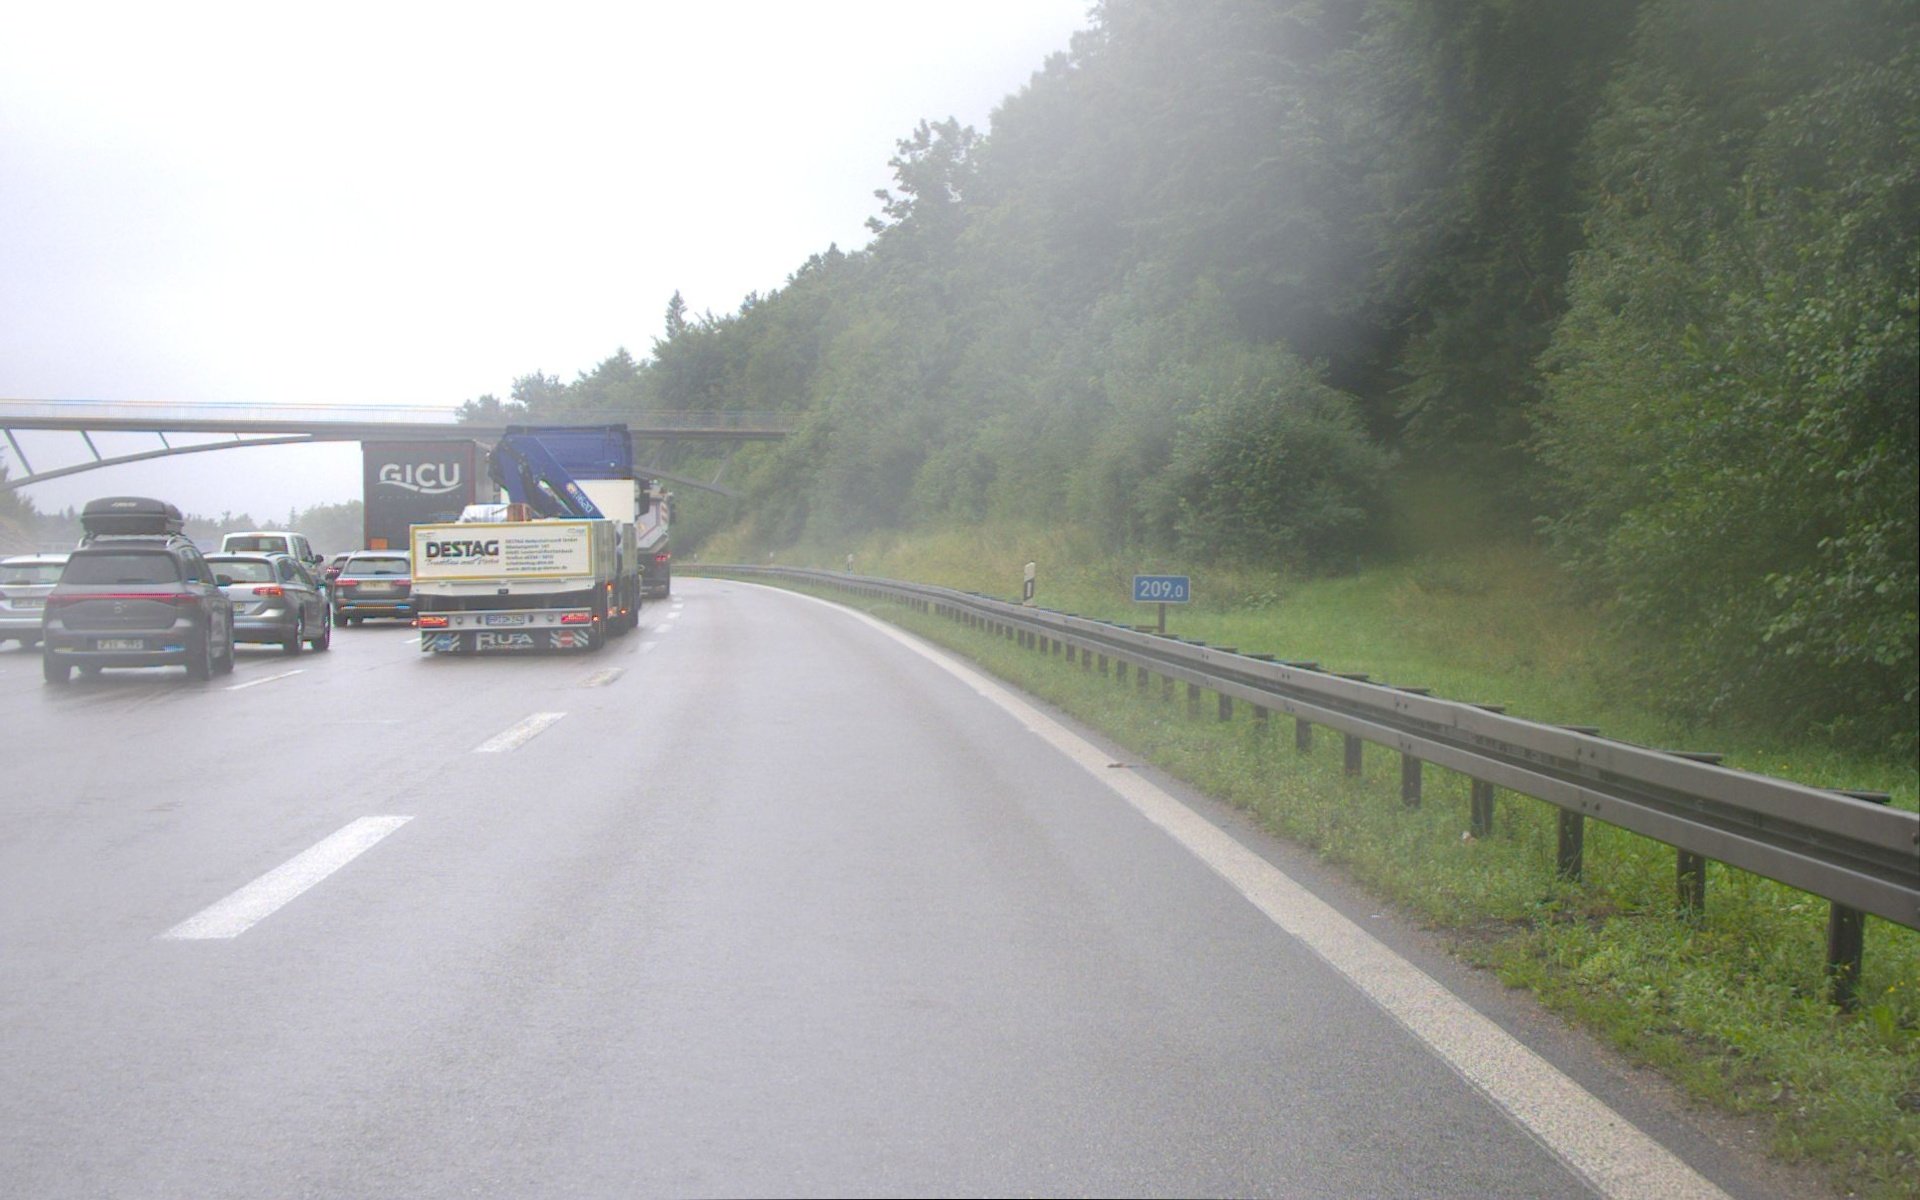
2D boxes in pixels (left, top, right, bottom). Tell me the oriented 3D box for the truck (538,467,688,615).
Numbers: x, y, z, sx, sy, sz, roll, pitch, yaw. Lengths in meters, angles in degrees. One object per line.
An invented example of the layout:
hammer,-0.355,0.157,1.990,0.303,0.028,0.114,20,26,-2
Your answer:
truck,-10.332,-1.659,103.681,3.754,3.957,11.060,3,-1,-3

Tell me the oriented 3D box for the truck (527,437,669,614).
truck,-12.847,-2.539,123.028,4.335,5.744,9.731,3,-1,-4

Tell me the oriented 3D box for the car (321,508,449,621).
car,-11.137,-0.657,66.848,1.793,2.007,4.000,3,-1,-1

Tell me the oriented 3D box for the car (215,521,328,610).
car,-15.705,-0.758,78.596,1.844,1.853,4.000,3,-1,-3

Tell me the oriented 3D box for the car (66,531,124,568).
car,-42.302,-2.483,168.203,1.993,1.824,4.001,0,1,-2

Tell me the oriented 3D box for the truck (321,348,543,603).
truck,-12.677,-2.834,83.577,3.754,5.480,10.173,3,-1,-1

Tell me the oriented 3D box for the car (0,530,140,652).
car,-14.075,-0.122,53.161,1.786,1.740,4.000,3,-1,-1

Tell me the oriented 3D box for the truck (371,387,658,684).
truck,-6.652,-0.994,53.259,3.599,4.091,11.562,0,1,-3

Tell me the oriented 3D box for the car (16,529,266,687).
car,-9.452,0.113,40.004,1.993,1.630,4.000,3,-1,-2

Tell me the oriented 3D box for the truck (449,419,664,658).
truck,-7.966,-1.091,69.310,3.507,4.253,10.604,3,-1,-4

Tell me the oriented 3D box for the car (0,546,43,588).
car,-39.069,-1.380,141.050,1.993,1.702,4.001,0,1,-3

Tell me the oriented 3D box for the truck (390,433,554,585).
truck,-14.331,-2.574,101.867,3.576,4.081,10.880,0,-1,-2

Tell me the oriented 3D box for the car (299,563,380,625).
car,-18.112,-0.162,100.495,1.851,1.657,4.000,3,-1,-5

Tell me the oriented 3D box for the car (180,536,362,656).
car,-9.828,-0.091,49.314,1.938,1.656,4.000,0,1,-2
